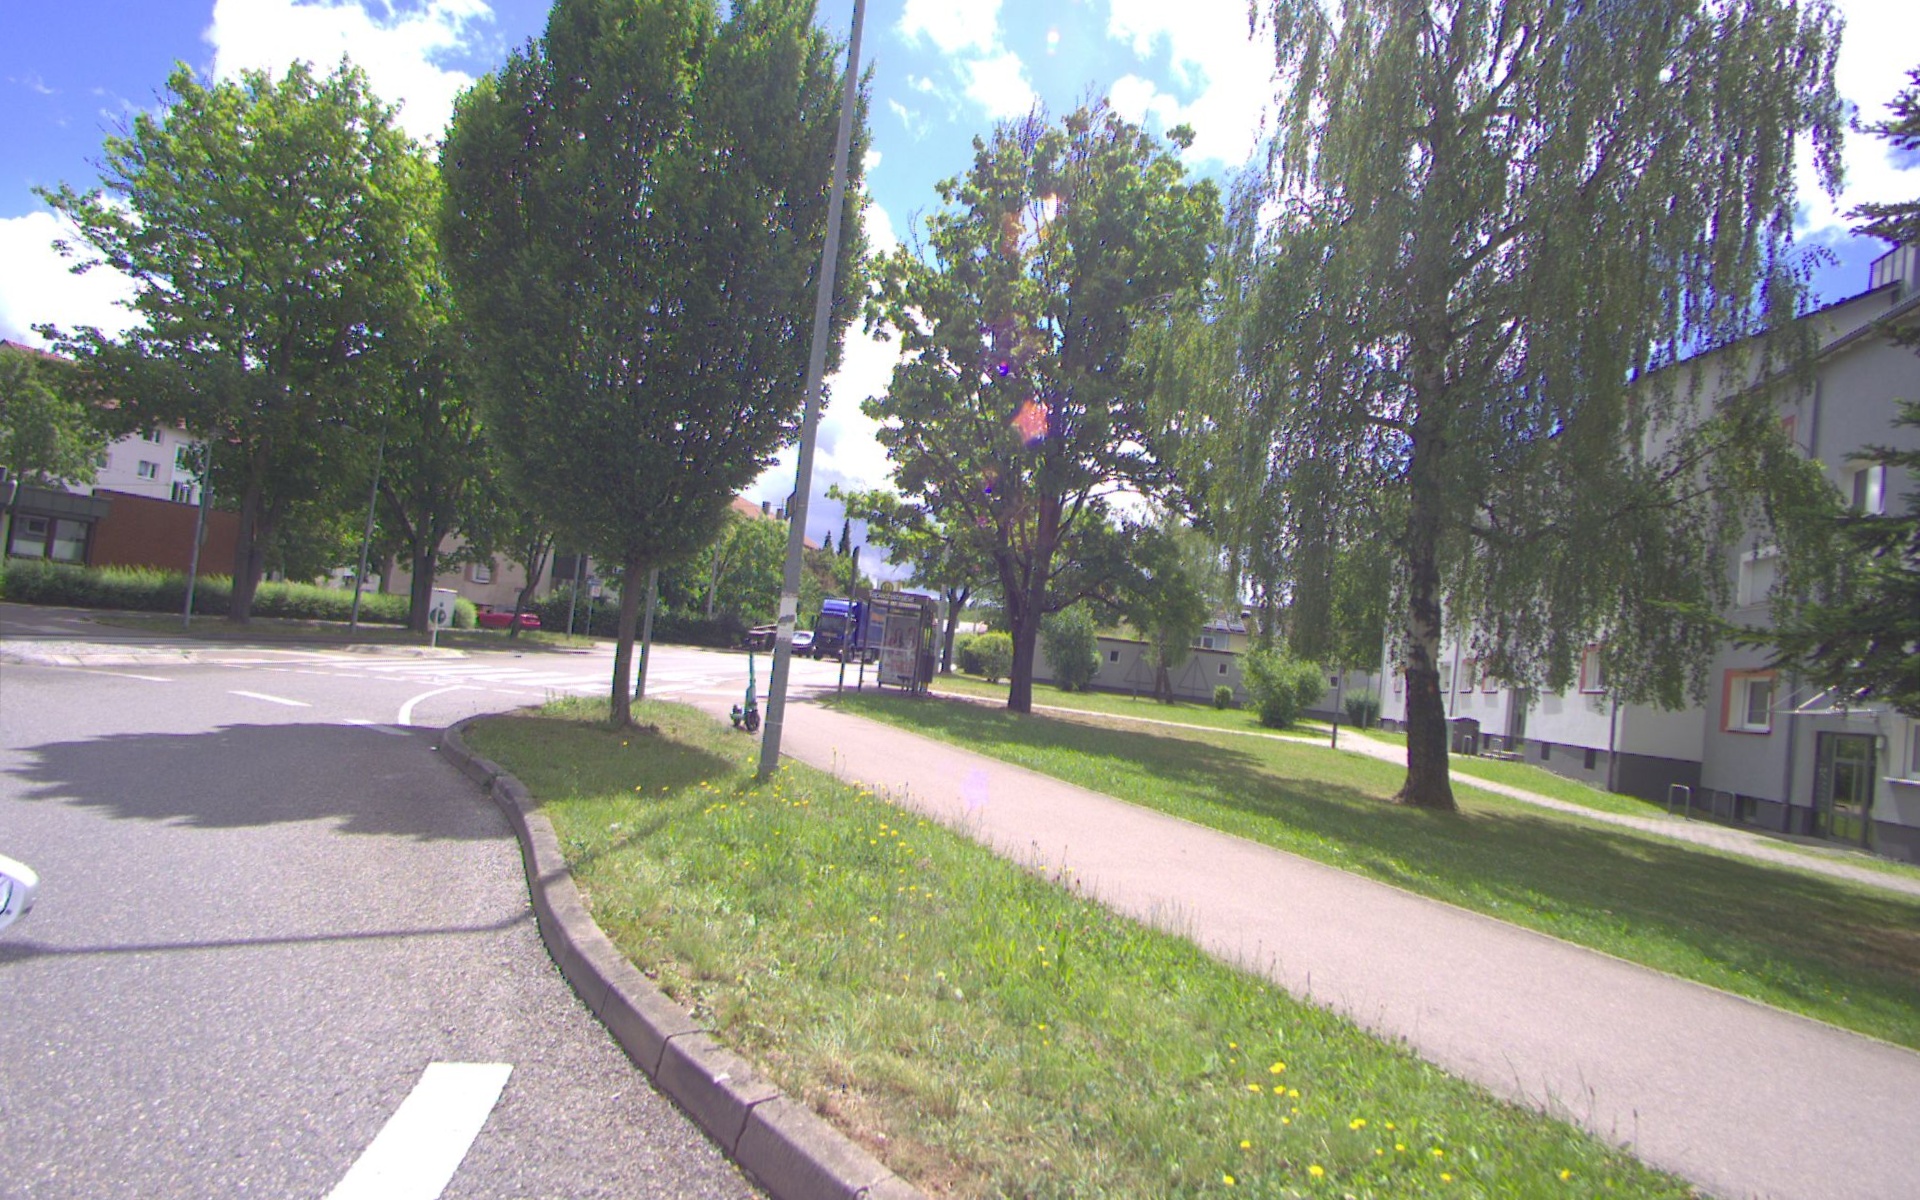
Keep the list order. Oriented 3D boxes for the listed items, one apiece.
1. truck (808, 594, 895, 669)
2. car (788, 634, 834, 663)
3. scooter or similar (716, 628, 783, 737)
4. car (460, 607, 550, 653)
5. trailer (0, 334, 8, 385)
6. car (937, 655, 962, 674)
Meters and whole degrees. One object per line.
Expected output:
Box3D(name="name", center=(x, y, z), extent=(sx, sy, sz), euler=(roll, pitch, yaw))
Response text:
Box3D(name="truck", center=(-7.011, 2.275, 67.104), extent=(2.736, 4.198, 9.817), euler=(6, -4, 10))
Box3D(name="car", center=(-10.095, 3.300, 68.458), extent=(1.962, 1.569, 4.009), euler=(7, -4, 7))
Box3D(name="scooter or similar", center=(-2.973, 1.130, 14.118), extent=(0.480, 1.359, 1.380), euler=(6, -1, -26))
Box3D(name="car", center=(-25.292, 1.683, 55.976), extent=(3.923, 1.962, 2.023), euler=(6, -4, 11))
Box3D(name="trailer", center=(-14.950, -1.578, 9.358), extent=(10.633, 3.408, 2.880), euler=(6, -4, 11))
Box3D(name="car", center=(-1.219, 7.362, 115.125), extent=(1.962, 1.799, 4.010), euler=(6, -4, 10))
